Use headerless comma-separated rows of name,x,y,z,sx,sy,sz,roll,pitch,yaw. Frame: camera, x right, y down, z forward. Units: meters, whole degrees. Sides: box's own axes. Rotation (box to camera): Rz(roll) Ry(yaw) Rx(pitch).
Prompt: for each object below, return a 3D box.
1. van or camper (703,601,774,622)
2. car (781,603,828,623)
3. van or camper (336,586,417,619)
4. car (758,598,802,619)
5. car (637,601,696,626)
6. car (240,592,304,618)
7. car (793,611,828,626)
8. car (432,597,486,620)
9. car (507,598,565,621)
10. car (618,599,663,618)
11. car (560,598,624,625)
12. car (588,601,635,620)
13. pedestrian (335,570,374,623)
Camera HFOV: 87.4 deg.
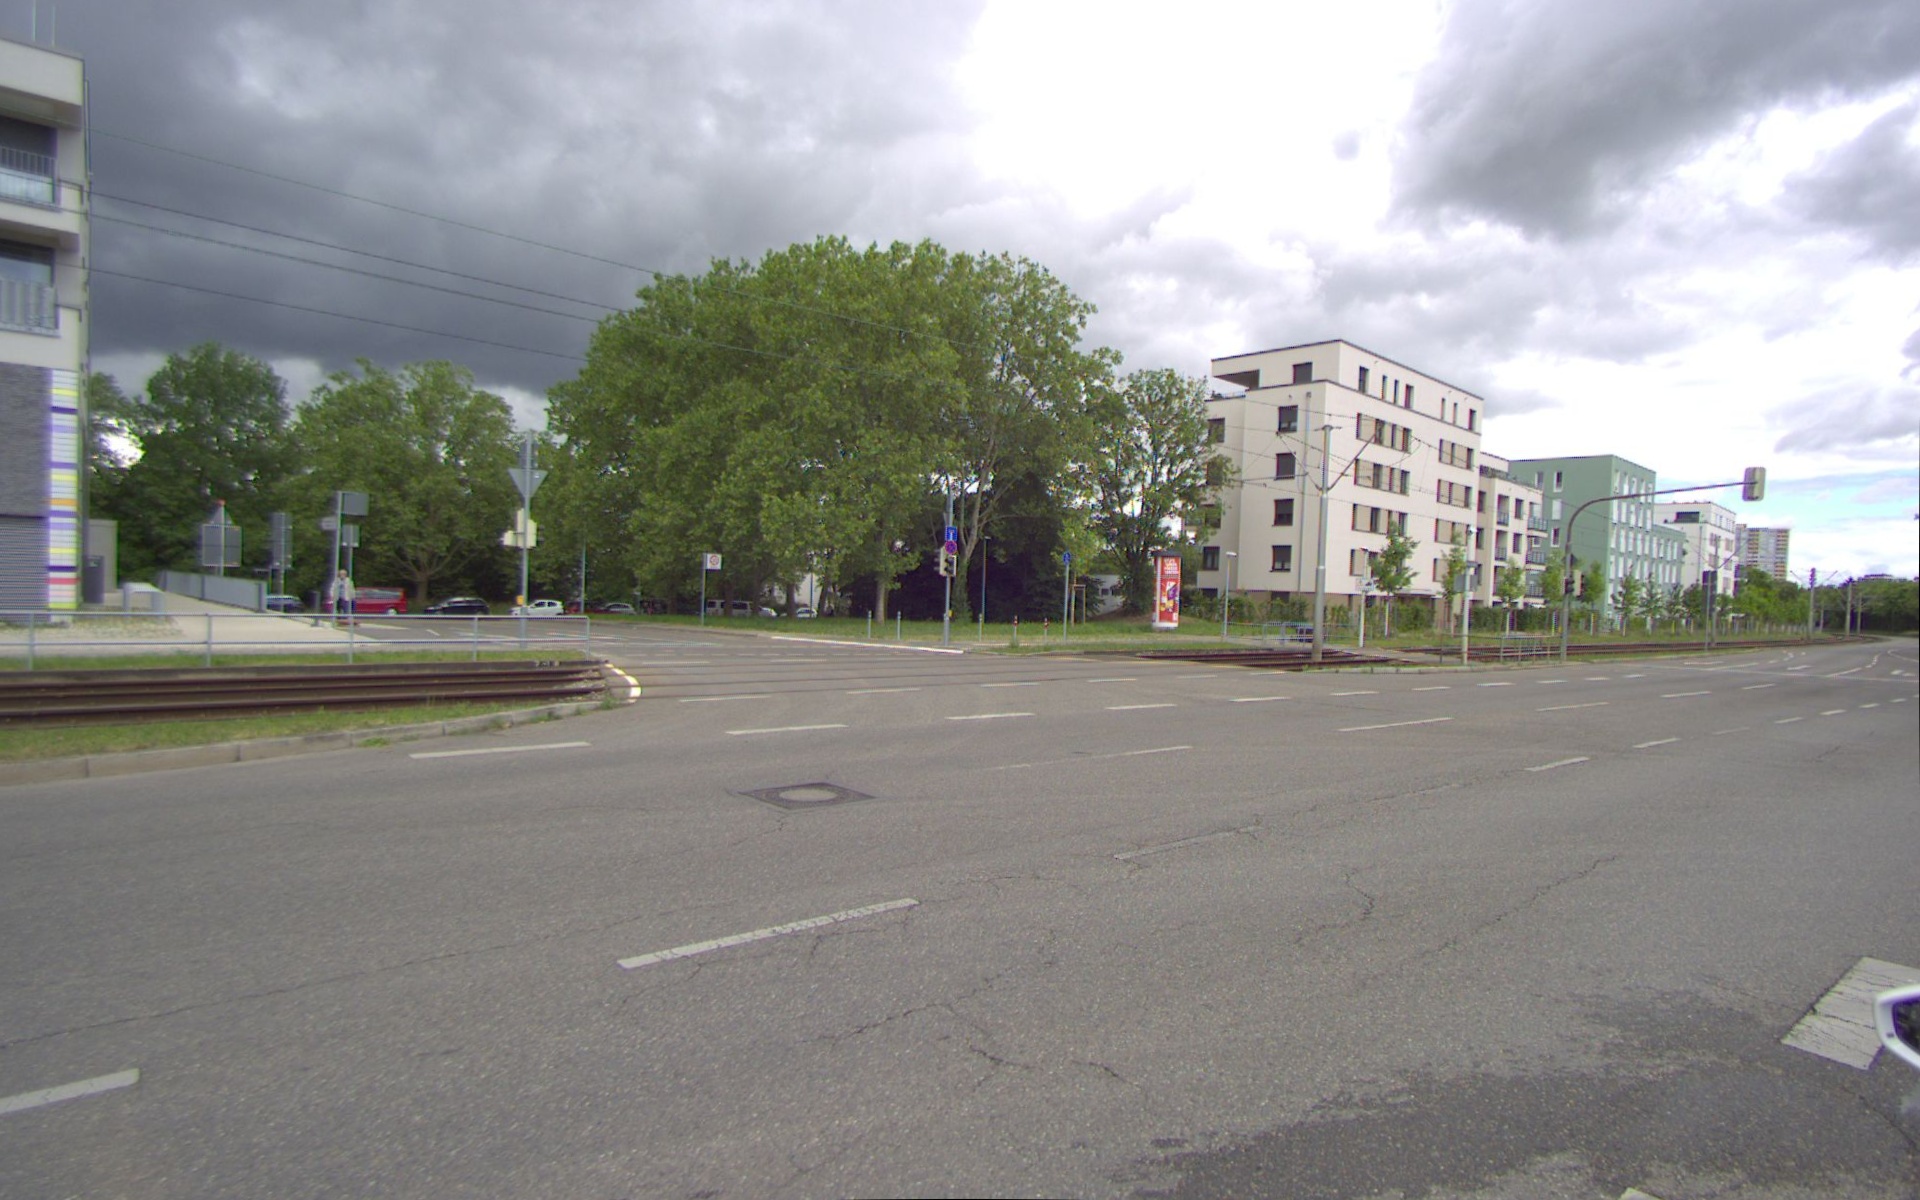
van or camper,-16.887,0.882,76.680,4.966,1.553,1.842,1,0,-40
car,-13.405,1.098,86.757,3.784,1.671,1.678,1,1,-44
van or camper,-38.538,0.164,66.353,4.513,2.052,2.028,1,0,-34
car,-16.606,0.803,92.707,3.726,1.752,1.658,3,0,-18
car,-21.178,1.000,72.592,3.757,1.684,1.644,3,0,-42
car,-43.059,0.304,62.964,3.236,1.522,1.589,1,0,-34
car,-14.444,1.800,97.109,3.091,1.362,1.441,1,0,-18
car,-34.512,0.584,69.188,3.107,1.522,1.589,1,0,-34
car,-30.640,0.714,72.654,3.559,1.557,1.856,1,0,-34
car,-28.572,0.762,89.812,3.380,1.586,1.665,3,0,4
car,-25.161,0.812,68.668,3.756,1.684,1.645,3,0,-41
car,-26.357,0.819,75.937,3.107,1.362,1.434,1,0,-34
pedestrian,-20.114,-0.116,33.364,0.983,1.692,0.846,2,0,-37
